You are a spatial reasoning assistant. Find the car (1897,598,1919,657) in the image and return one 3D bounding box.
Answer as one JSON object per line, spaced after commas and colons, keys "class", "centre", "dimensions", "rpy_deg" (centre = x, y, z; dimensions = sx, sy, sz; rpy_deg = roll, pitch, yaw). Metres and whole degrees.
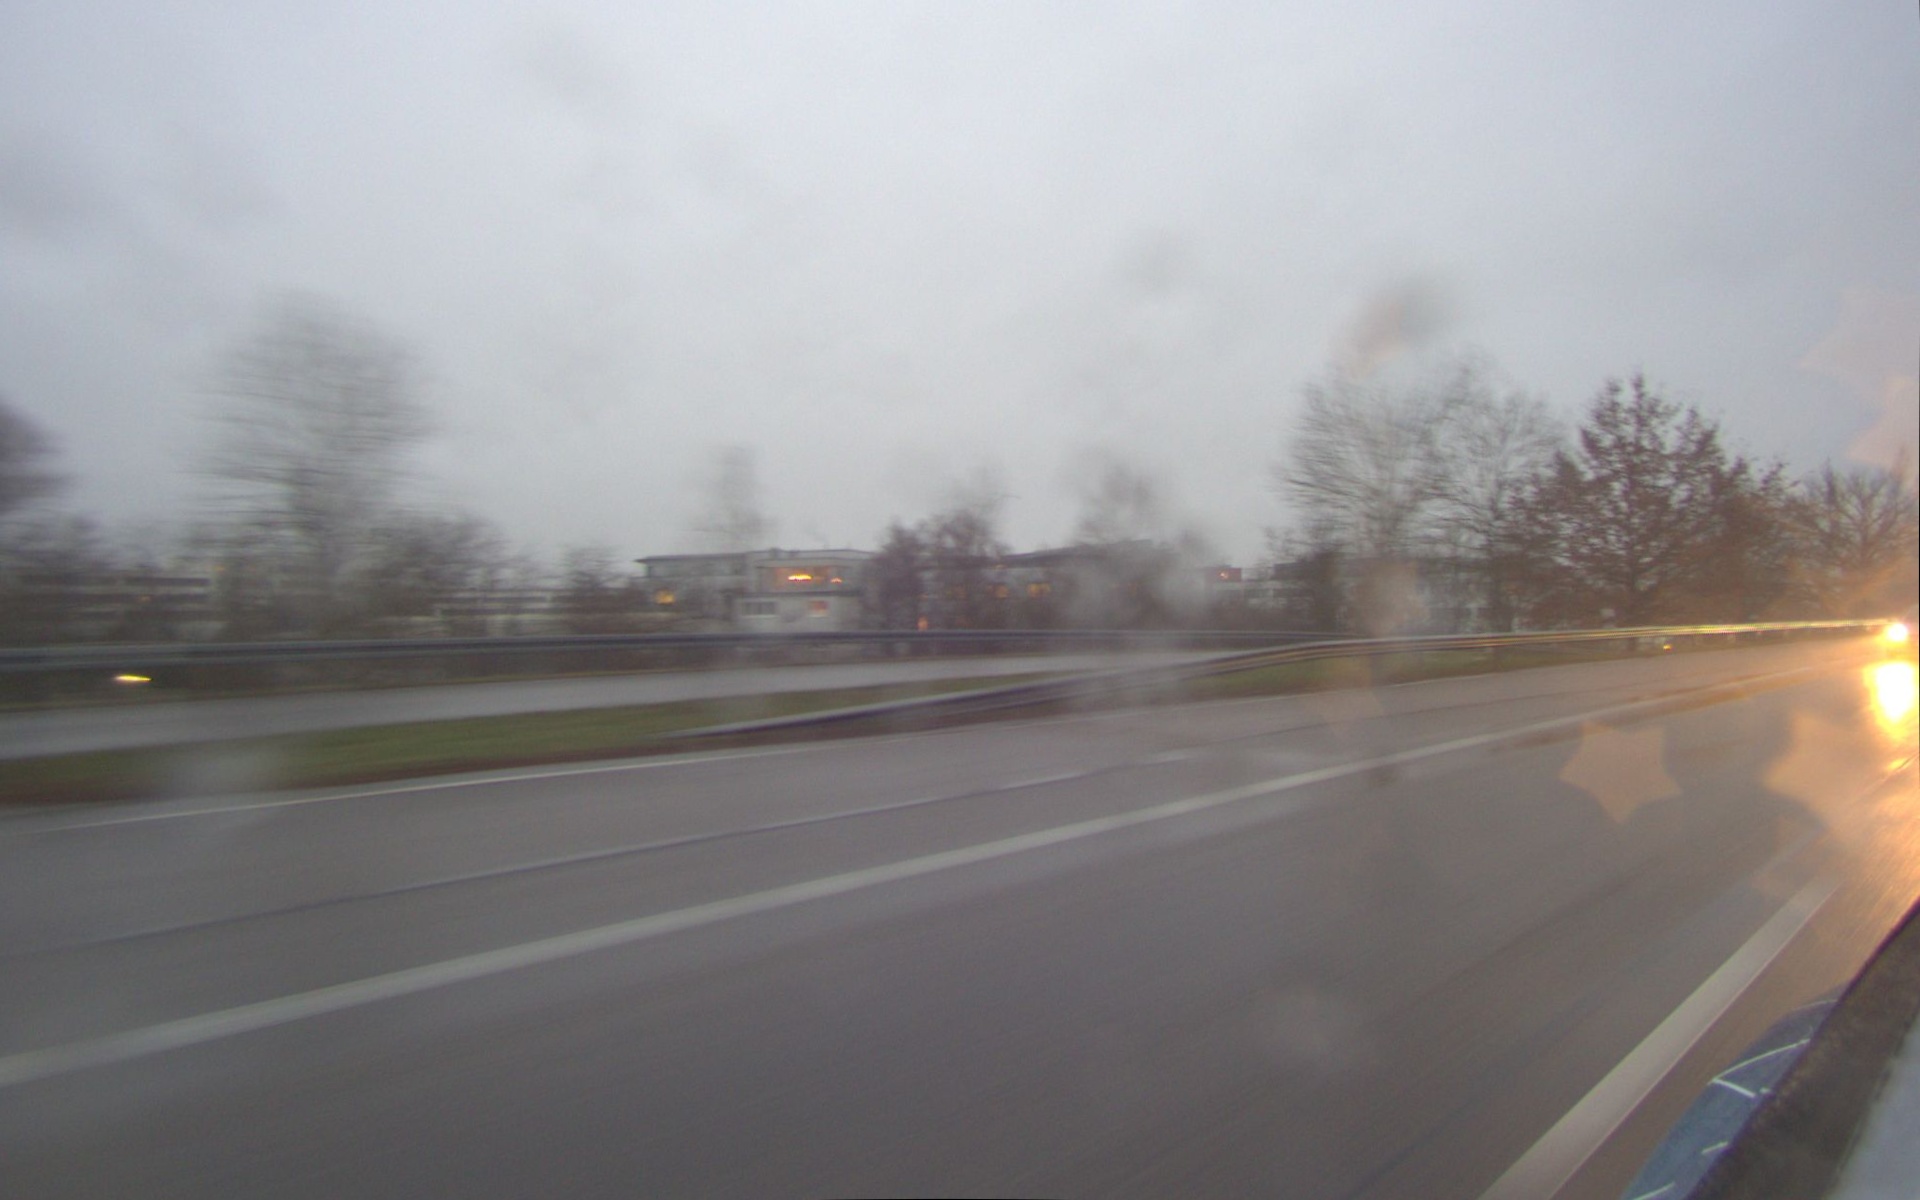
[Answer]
{"class": "car", "centre": [26.926, 0.731, 27.330], "dimensions": [4.074, 1.549, 1.849], "rpy_deg": [1, 0, -39]}
